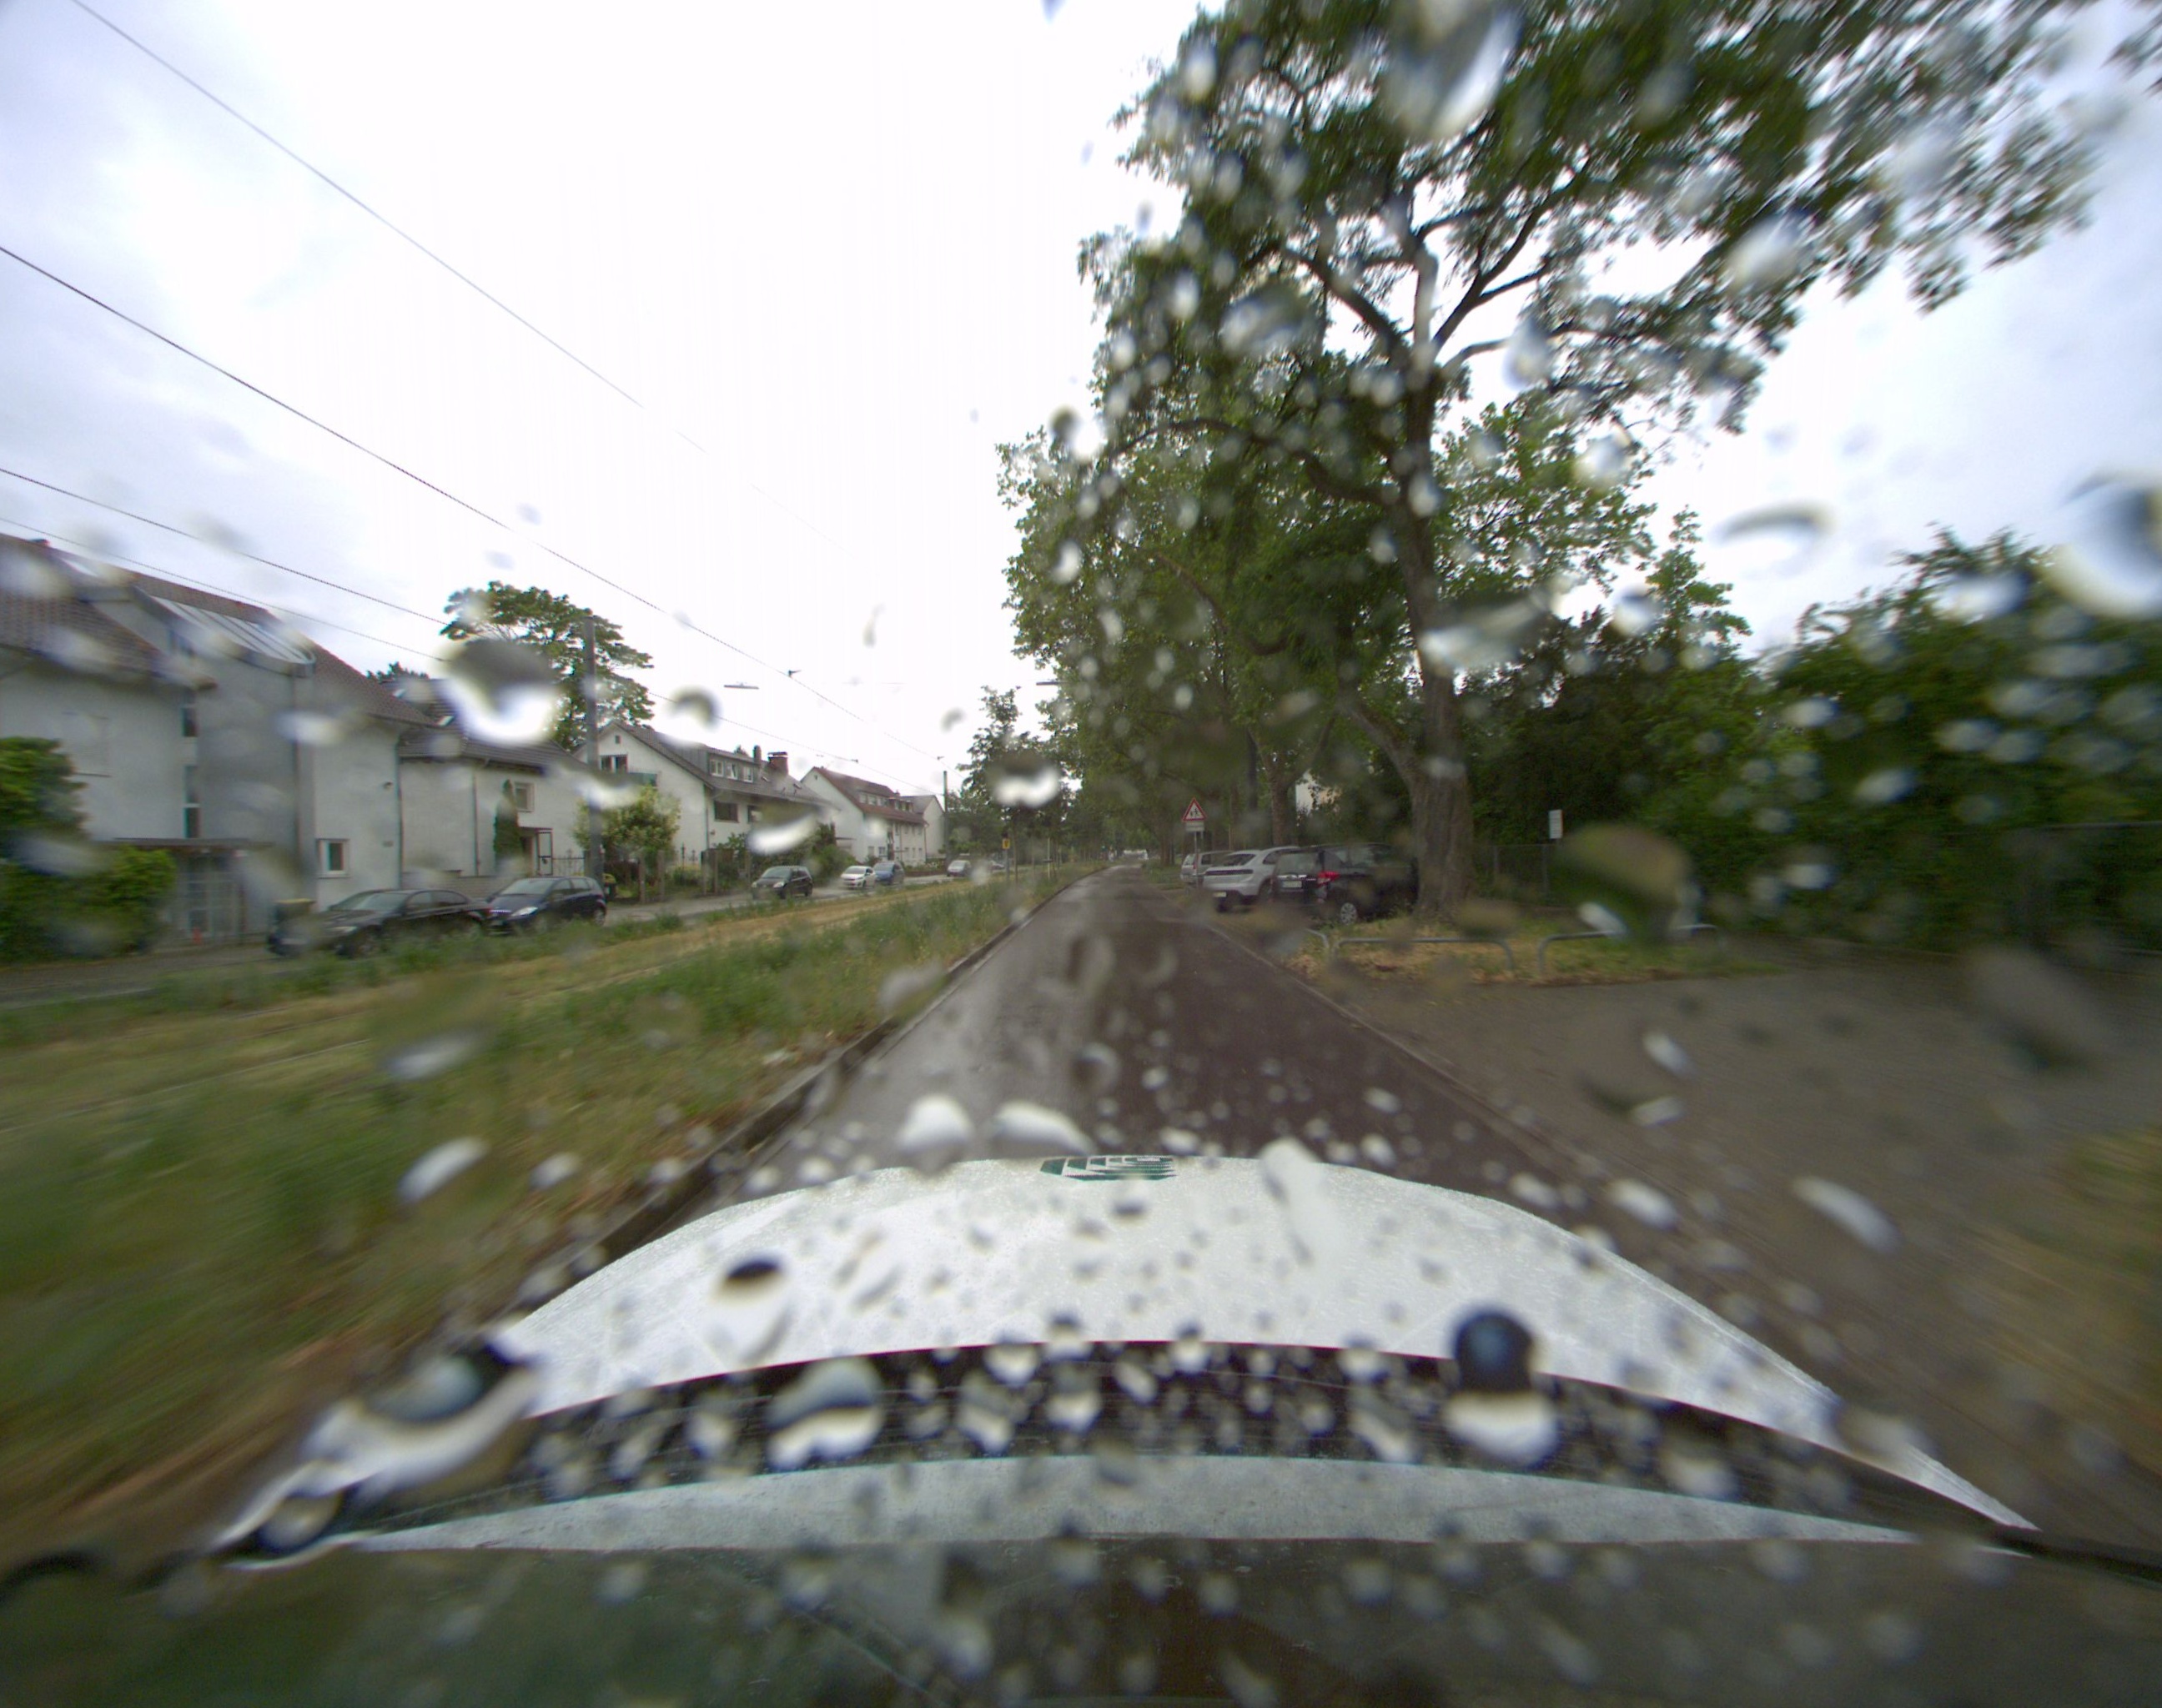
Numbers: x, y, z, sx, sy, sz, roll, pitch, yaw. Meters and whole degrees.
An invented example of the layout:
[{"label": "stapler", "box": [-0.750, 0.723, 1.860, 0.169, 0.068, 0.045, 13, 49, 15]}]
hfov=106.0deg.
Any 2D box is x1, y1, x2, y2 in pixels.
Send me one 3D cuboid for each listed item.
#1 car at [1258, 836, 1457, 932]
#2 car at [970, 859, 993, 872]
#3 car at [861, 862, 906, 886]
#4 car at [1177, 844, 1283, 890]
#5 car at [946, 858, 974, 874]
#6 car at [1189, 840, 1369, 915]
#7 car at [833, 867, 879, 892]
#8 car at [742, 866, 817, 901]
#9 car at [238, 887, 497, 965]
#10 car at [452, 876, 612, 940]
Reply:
[{"label": "car", "box": [5.442, 0.523, 15.915, 3.727, 1.566, 1.603, -3, 0, -31]}, {"label": "car", "box": [-11.789, 1.374, 96.743, 1.985, 1.488, 4.209, 0, 0, 3]}, {"label": "car", "box": [-14.234, 1.394, 59.004, 1.985, 1.614, 4.416, 0, 0, 3]}, {"label": "car", "box": [6.003, 0.506, 32.955, 3.859, 1.566, 1.612, -4, 0, -13]}, {"label": "car", "box": [-12.299, 1.206, 82.881, 1.985, 1.581, 4.520, 0, 0, 3]}, {"label": "car", "box": [5.390, 0.568, 21.931, 4.796, 1.668, 1.973, -3, 0, -35]}, {"label": "car", "box": [-14.425, 1.622, 52.333, 1.789, 1.488, 3.600, 0, 0, 3]}, {"label": "car", "box": [-14.913, 1.422, 40.552, 1.985, 1.516, 4.209, 0, 0, 3]}, {"label": "car", "box": [-15.856, 1.534, 18.482, 1.985, 1.350, 4.243, 0, 0, 3]}, {"label": "car", "box": [-15.514, 1.471, 23.290, 1.867, 1.550, 3.871, 0, 0, 1]}]
